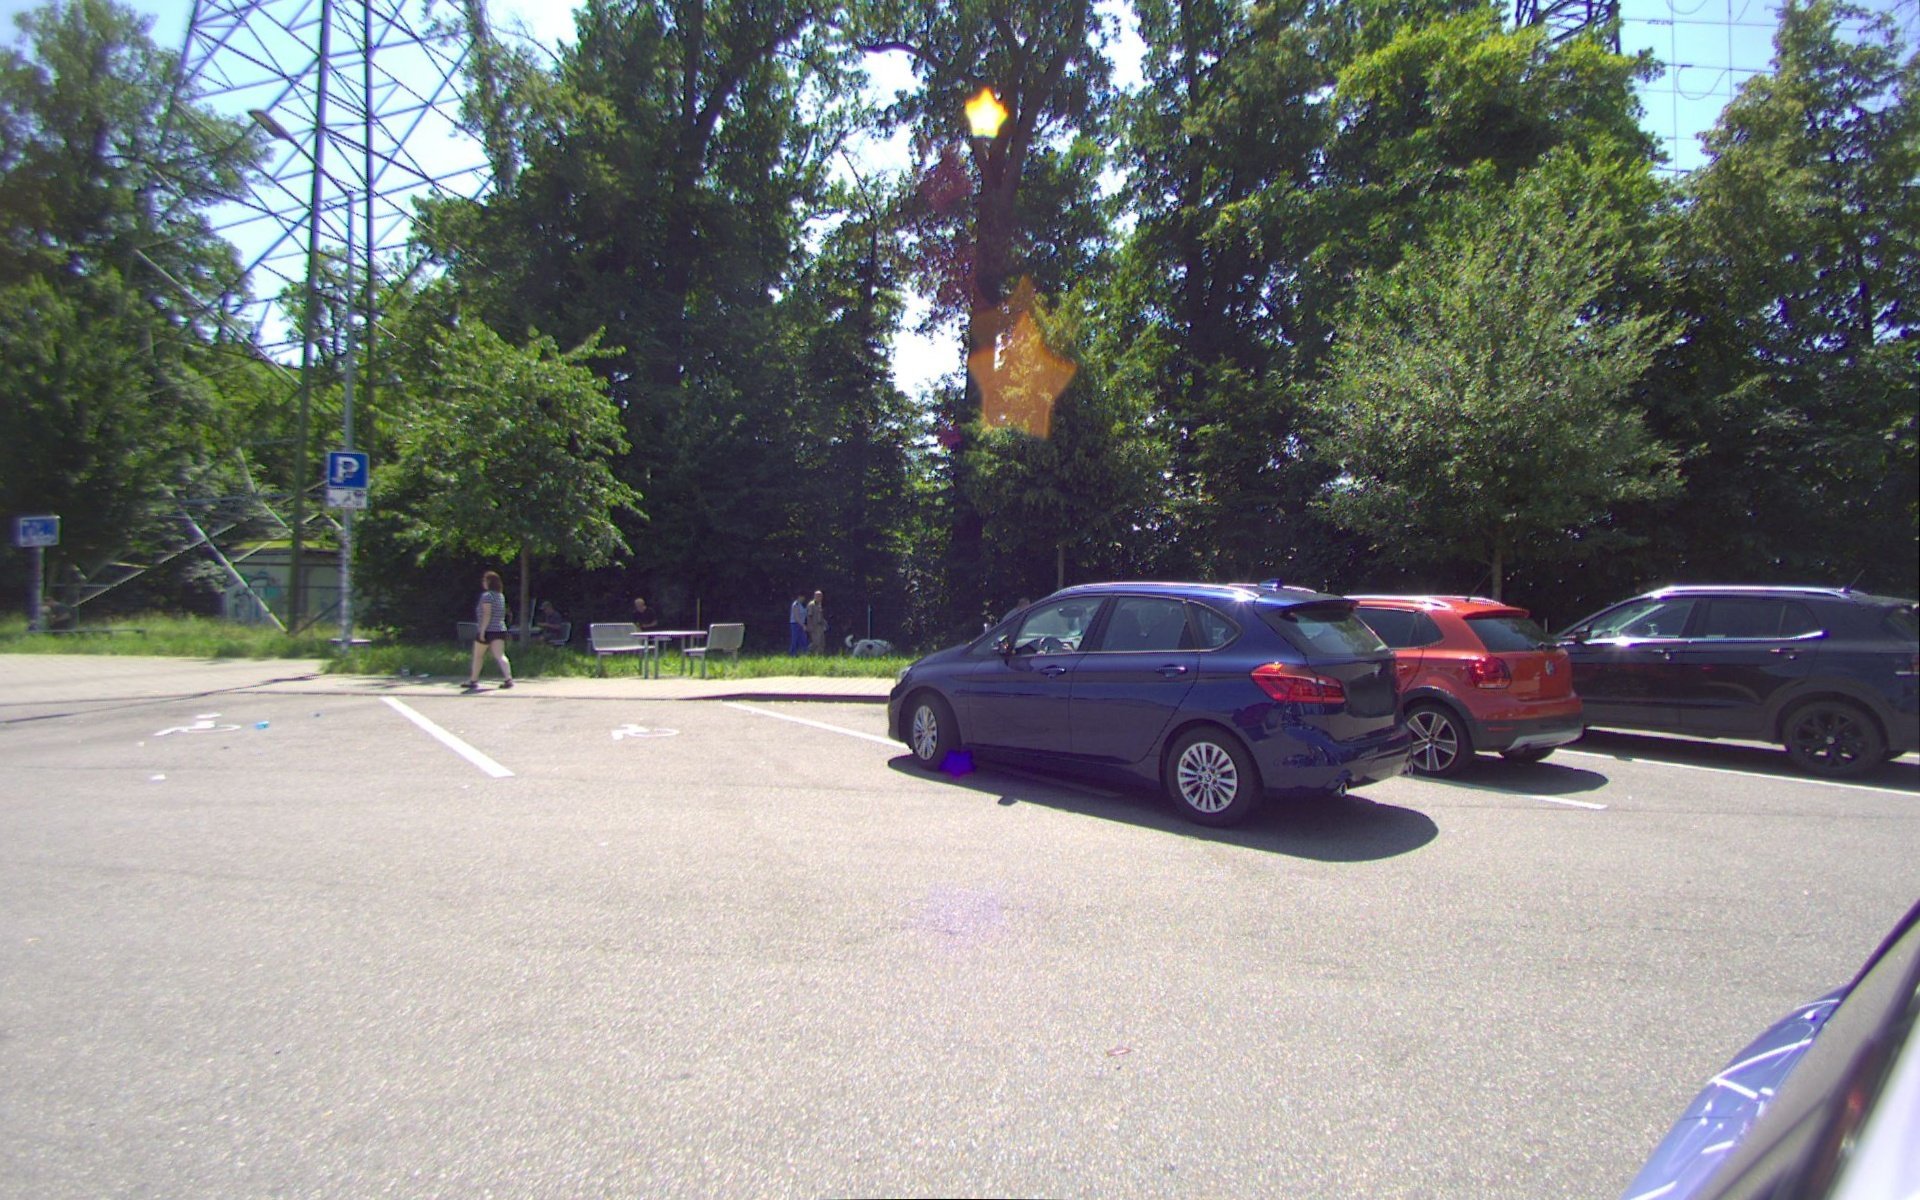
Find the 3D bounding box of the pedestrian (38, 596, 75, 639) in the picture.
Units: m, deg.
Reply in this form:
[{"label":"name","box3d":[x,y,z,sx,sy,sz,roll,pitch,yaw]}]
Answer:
[{"label":"pedestrian","box3d":[-20.944,0.402,23.468,0.452,0.987,0.447,0,0,-2]}]

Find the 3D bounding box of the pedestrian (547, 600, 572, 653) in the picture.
[{"label":"pedestrian","box3d":[-9.338,0.618,23.609,0.452,1.209,0.447,0,0,-34]}]

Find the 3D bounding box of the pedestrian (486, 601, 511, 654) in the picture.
[{"label":"pedestrian","box3d":[-10.426,0.617,22.868,0.452,1.182,0.447,0,0,-34]}]

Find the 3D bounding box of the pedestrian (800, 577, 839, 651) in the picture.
[{"label":"pedestrian","box3d":[-3.137,0.297,22.592,0.570,1.625,0.637,0,0,43]}]

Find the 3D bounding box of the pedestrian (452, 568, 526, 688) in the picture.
[{"label":"pedestrian","box3d":[-6.736,0.382,14.486,0.703,1.670,0.686,0,0,8]}]

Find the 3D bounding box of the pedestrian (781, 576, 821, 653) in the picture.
[{"label":"pedestrian","box3d":[-3.453,0.305,21.981,0.570,1.625,0.637,0,0,43]}]

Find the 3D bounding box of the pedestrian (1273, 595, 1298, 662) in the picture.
[{"label":"pedestrian","box3d":[5.778,0.504,17.960,0.350,1.180,0.384,0,0,8]}]

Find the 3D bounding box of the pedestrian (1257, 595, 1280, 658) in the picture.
[{"label":"pedestrian","box3d":[5.826,0.493,19.136,0.350,1.180,0.384,0,0,8]}]

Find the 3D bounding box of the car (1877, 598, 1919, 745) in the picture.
[{"label":"car","box3d":[10.904,0.701,9.020,1.620,1.420,3.826,0,0,-37]}]

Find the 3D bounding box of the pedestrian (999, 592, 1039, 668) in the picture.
[{"label":"pedestrian","box3d":[0.997,0.497,17.123,0.586,1.261,0.445,0,0,16]}]

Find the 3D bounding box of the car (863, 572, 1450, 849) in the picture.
[{"label":"car","box3d":[1.260,0.585,7.923,1.719,1.572,4.334,0,1,-44]}]

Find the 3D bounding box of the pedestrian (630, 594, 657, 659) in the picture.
[{"label":"pedestrian","box3d":[-6.679,0.549,21.357,0.438,1.363,0.462,0,0,-5]}]

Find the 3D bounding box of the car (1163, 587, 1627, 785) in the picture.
[{"label":"car","box3d":[3.888,0.633,9.659,1.619,1.487,3.830,0,0,-33]}]

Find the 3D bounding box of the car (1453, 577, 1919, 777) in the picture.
[{"label":"car","box3d":[7.104,0.591,9.875,1.620,1.575,3.826,0,0,-37]}]
